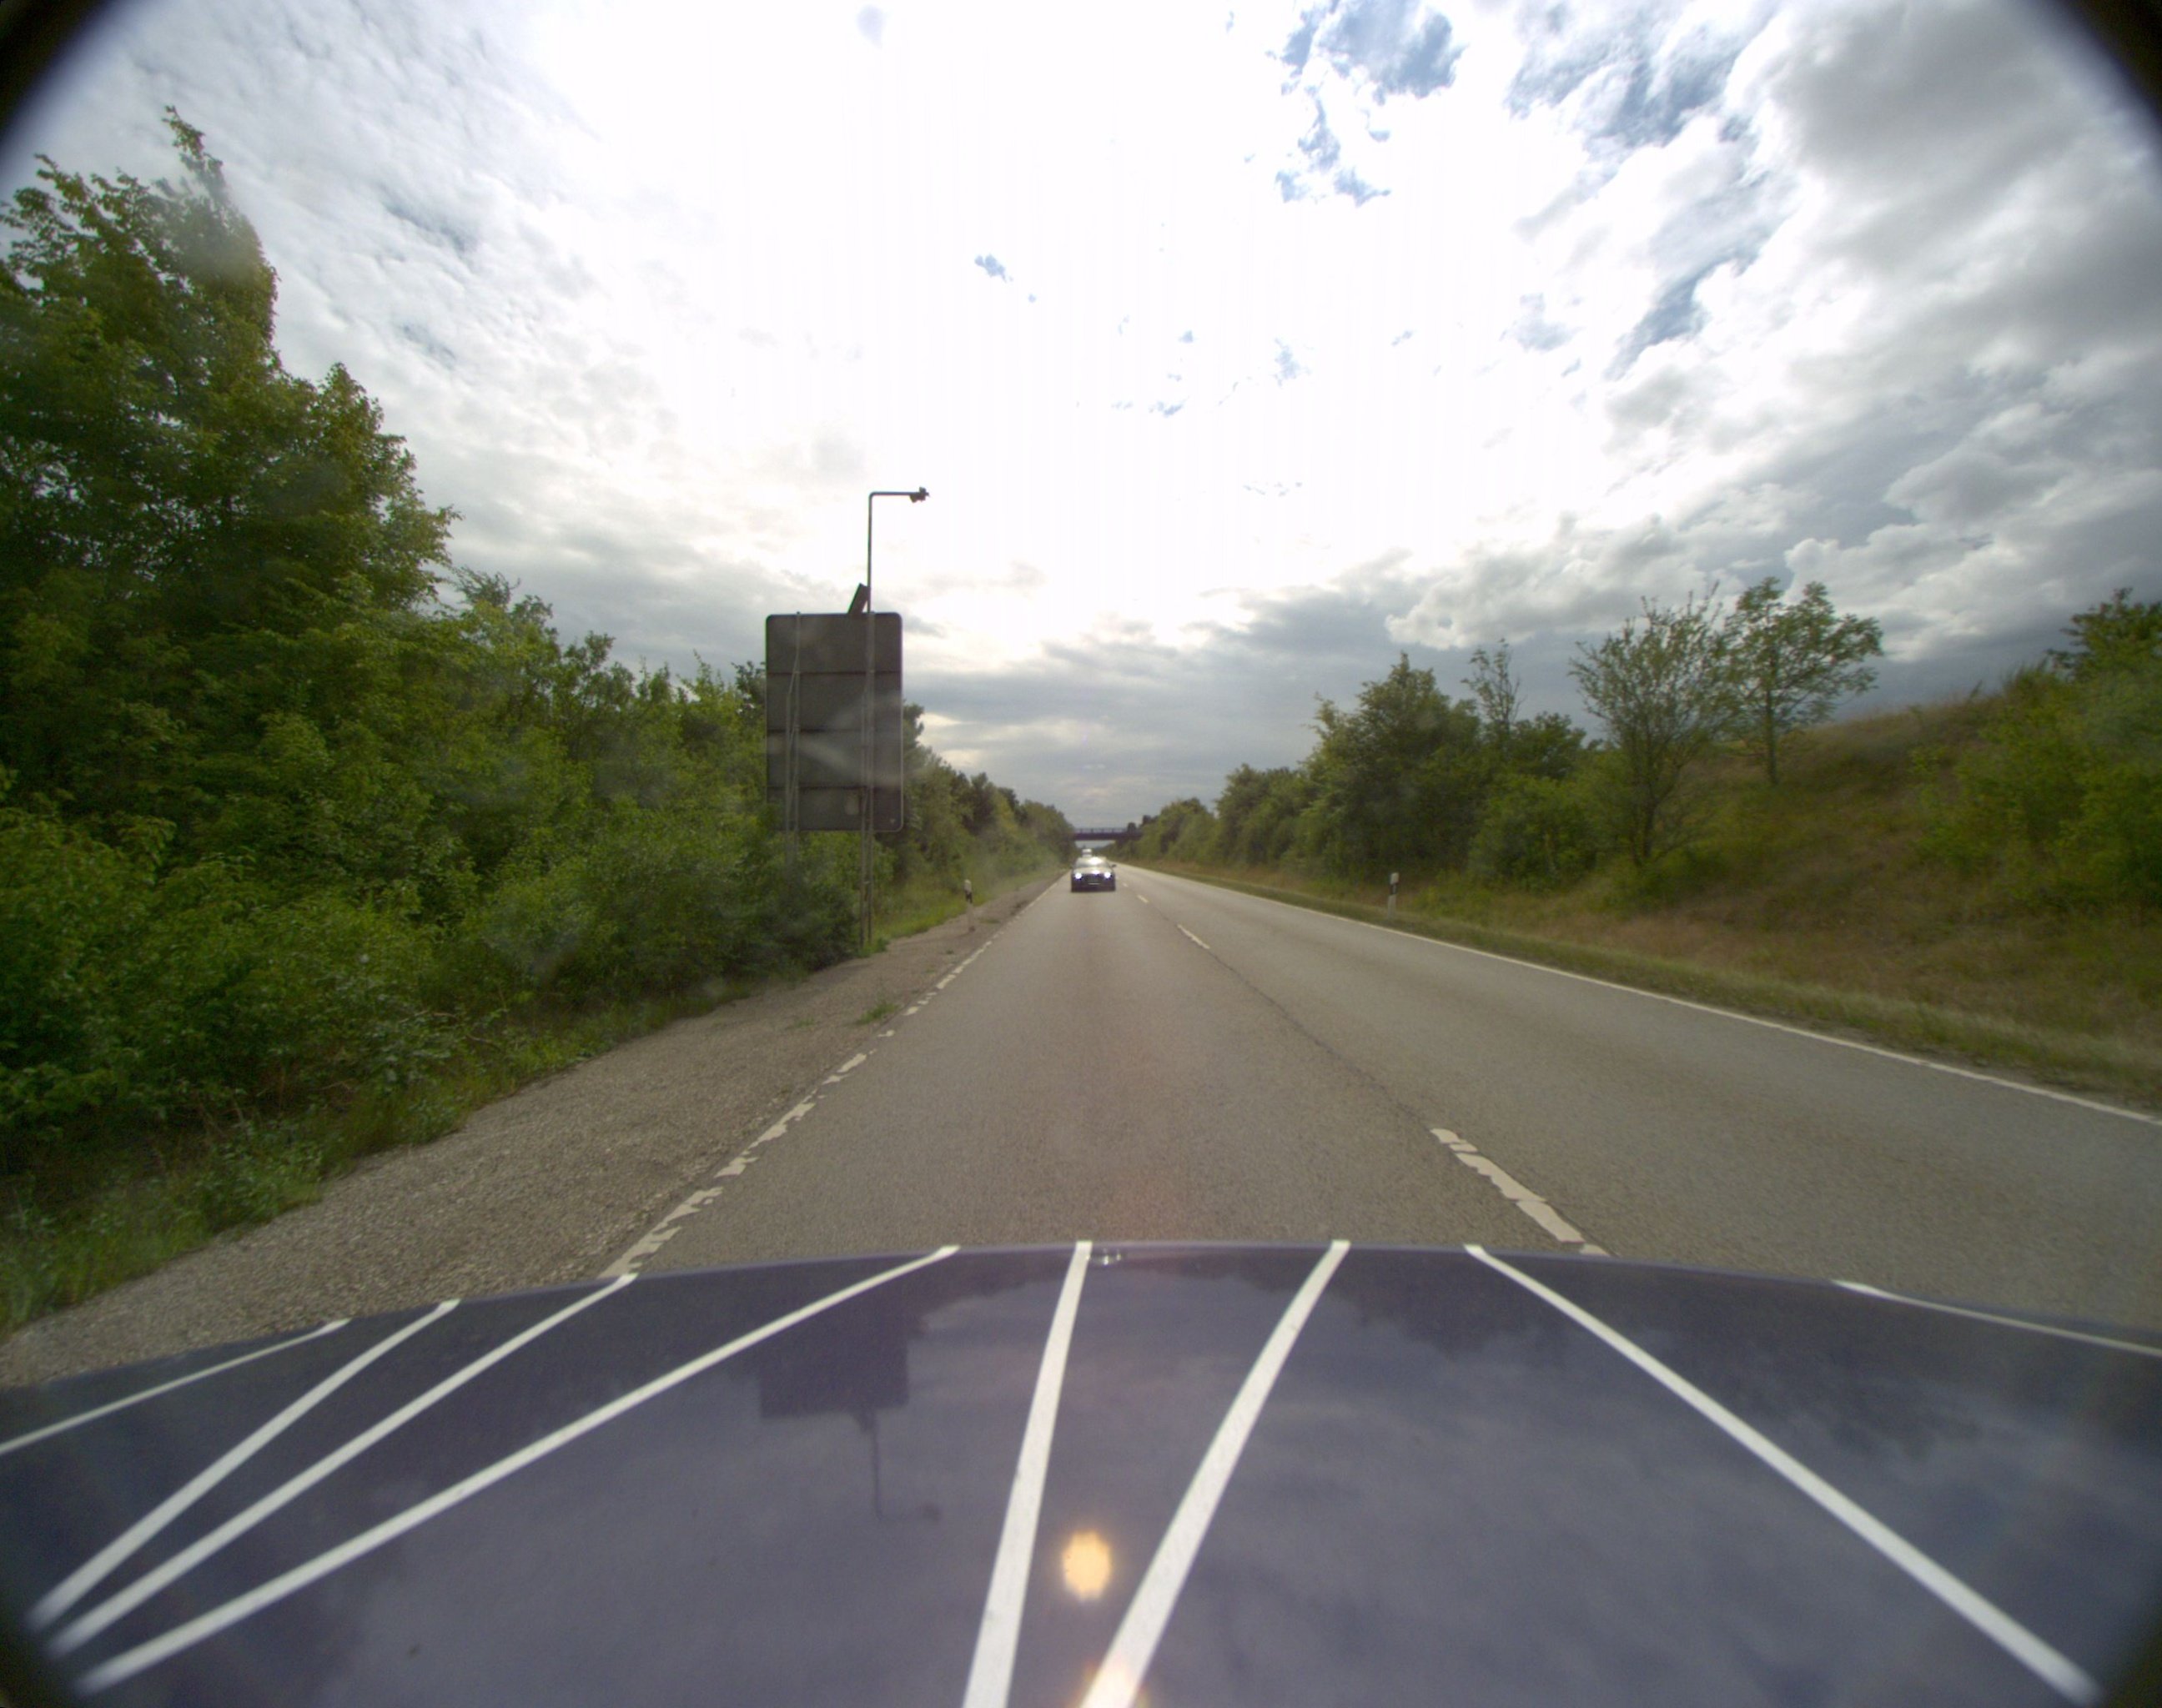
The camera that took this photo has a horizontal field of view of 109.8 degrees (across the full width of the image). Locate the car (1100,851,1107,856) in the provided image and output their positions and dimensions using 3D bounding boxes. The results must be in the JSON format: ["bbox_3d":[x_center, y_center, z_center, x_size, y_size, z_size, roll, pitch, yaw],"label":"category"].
[{"bbox_3d":[6.518,-0.246,221.474,1.833,1.456,4.411,-1,0,1],"label":"car"}]

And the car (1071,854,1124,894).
[{"bbox_3d":[0.661,0.756,31.503,1.998,1.436,4.640,-2,0,0],"label":"car"}]

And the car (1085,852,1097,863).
[{"bbox_3d":[1.517,0.556,117.749,1.870,1.597,4.000,-1,0,0],"label":"car"}]

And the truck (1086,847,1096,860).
[{"bbox_3d":[1.945,-0.138,149.609,1.802,2.518,6.685,-2,1,1],"label":"truck"}]
